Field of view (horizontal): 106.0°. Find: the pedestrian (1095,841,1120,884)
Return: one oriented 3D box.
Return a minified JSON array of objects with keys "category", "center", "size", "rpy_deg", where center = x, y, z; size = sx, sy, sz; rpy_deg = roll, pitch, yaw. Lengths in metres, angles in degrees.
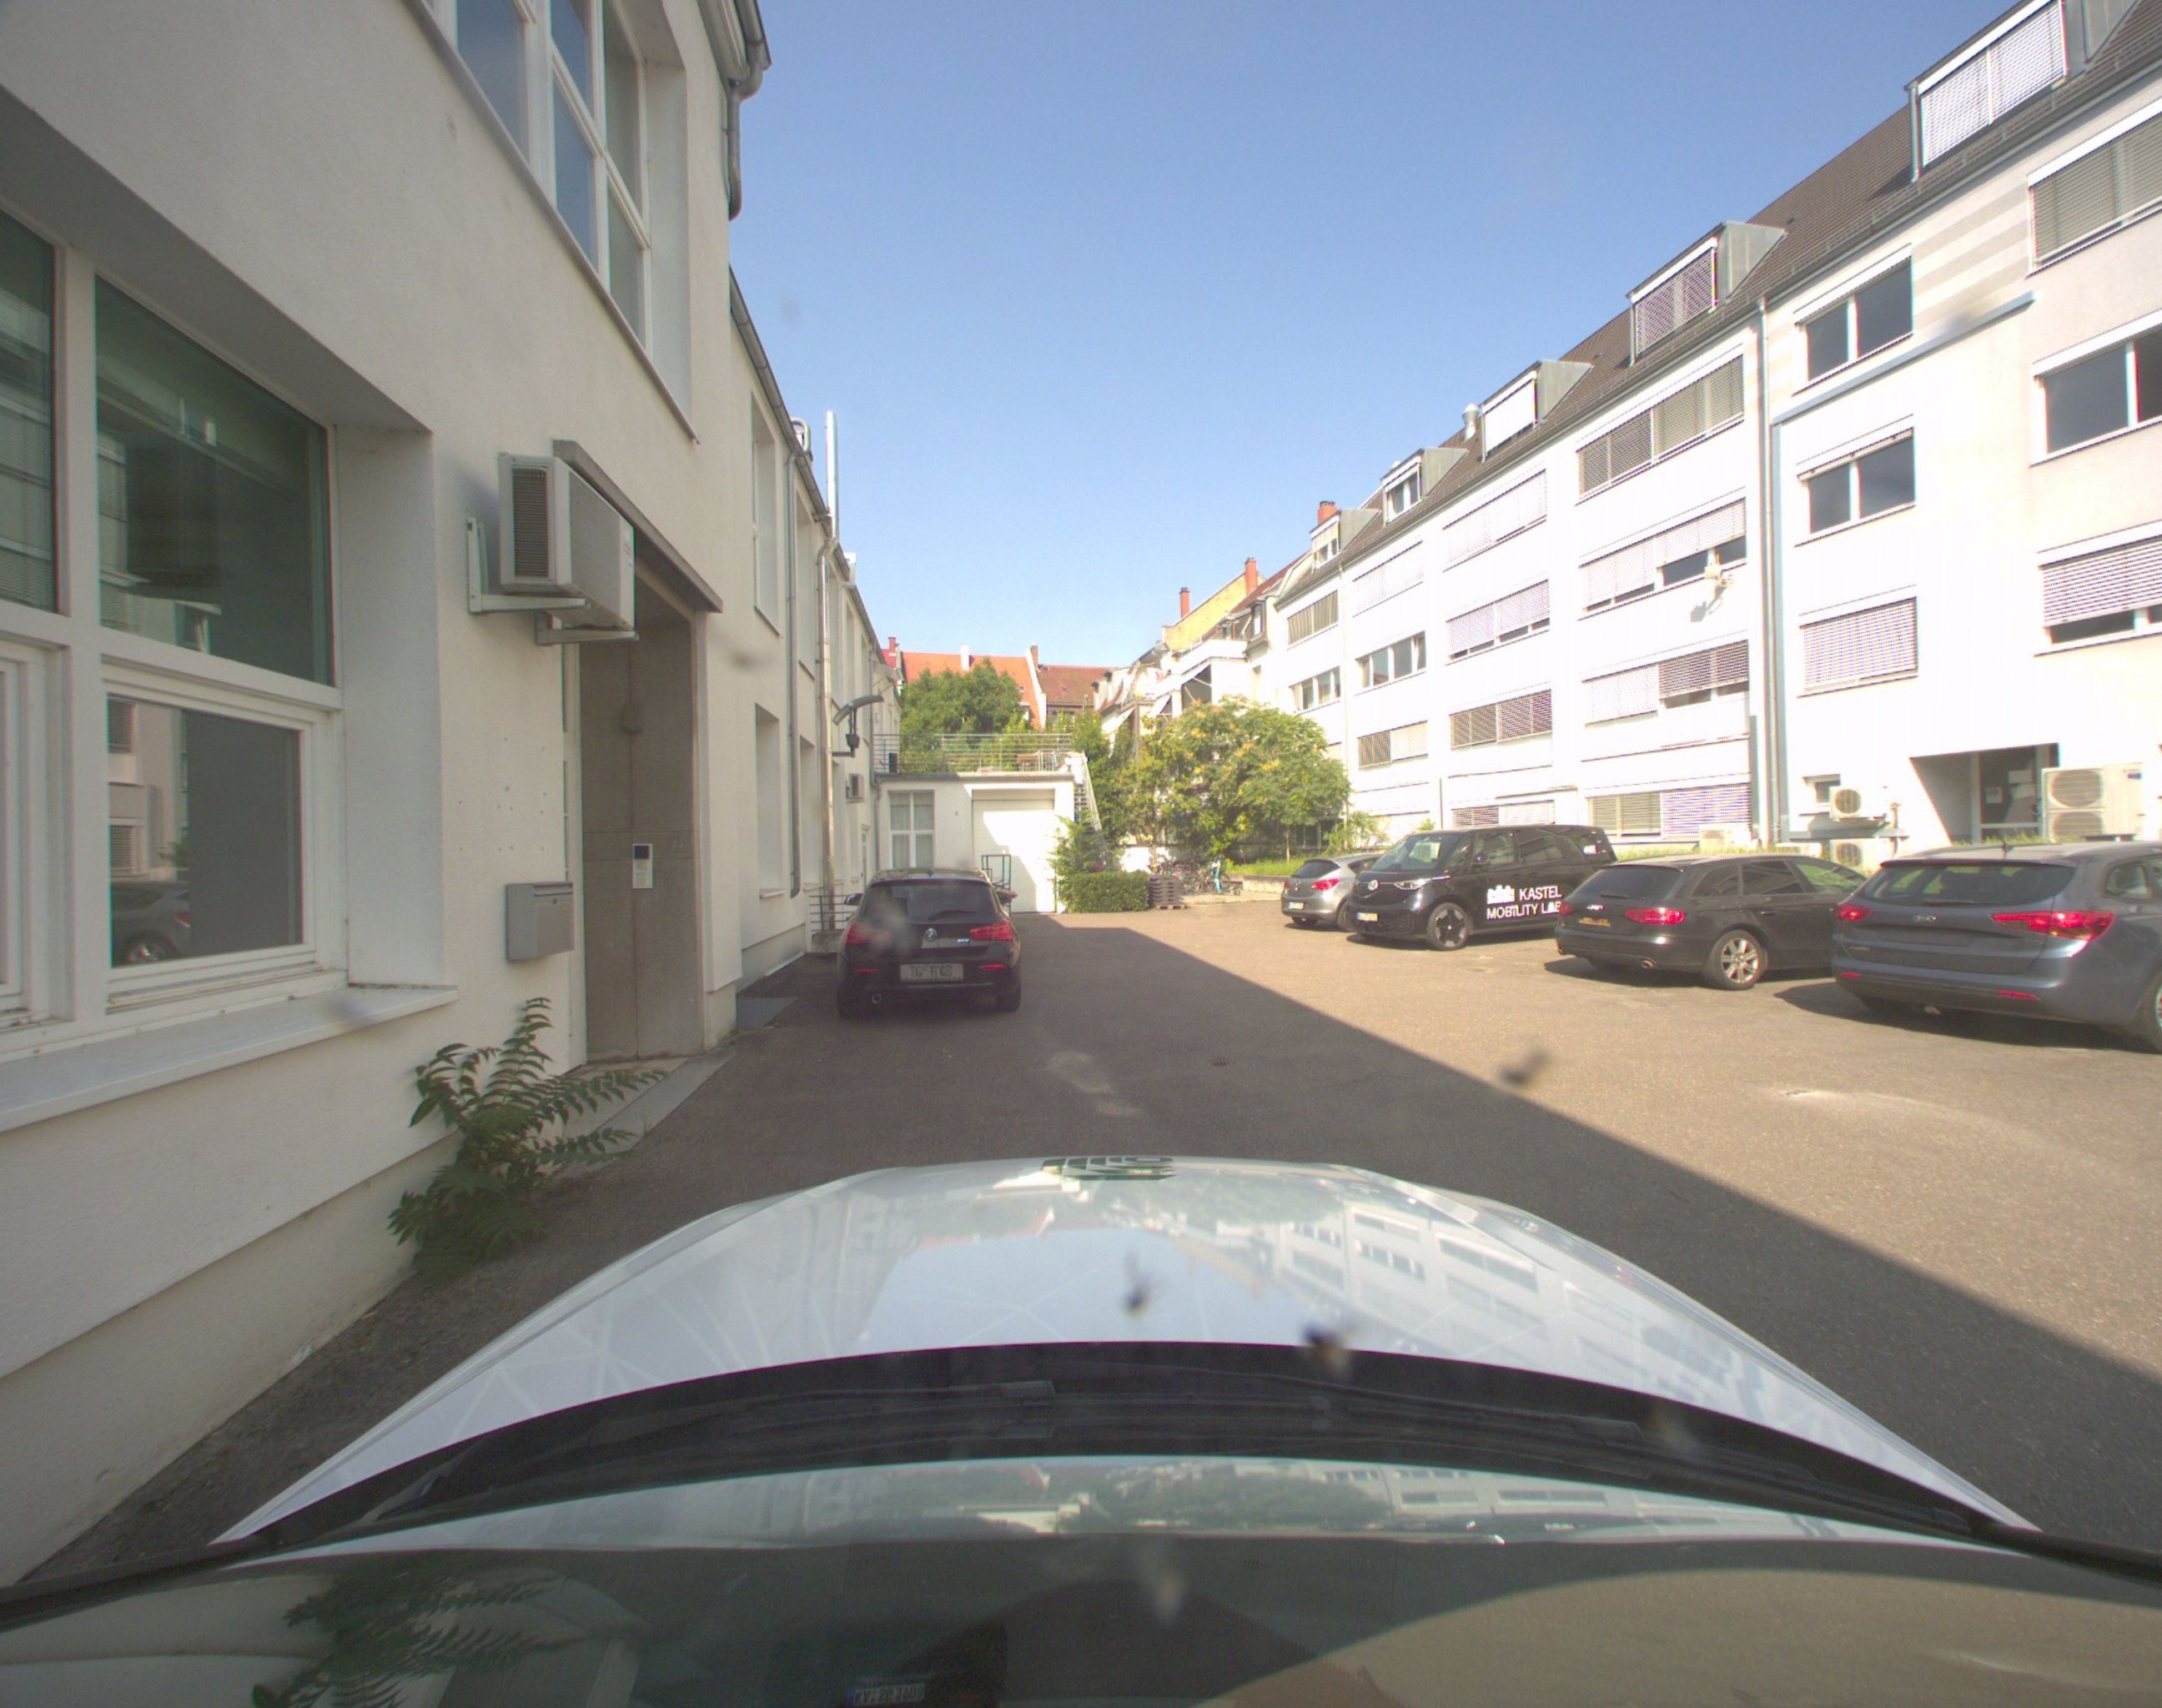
[{"category":"pedestrian","center":[1.104,0.344,34.250],"size":[0.850,1.771,0.615],"rpy_deg":[-1,0,36]}]

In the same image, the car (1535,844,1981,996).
[{"category":"car","center":[7.774,0.658,9.497],"size":[4.233,1.437,1.684],"rpy_deg":[-2,0,-11]}]

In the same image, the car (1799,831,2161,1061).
[{"category":"car","center":[8.455,0.582,6.754],"size":[4.051,1.478,1.734],"rpy_deg":[-2,0,-14]}]

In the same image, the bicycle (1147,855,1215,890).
[{"category":"bicycle","center":[3.631,0.666,29.693],"size":[2.410,1.246,0.525],"rpy_deg":[0,0,-9]}]

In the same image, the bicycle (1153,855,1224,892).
[{"category":"bicycle","center":[3.733,0.675,28.377],"size":[2.410,1.246,0.525],"rpy_deg":[0,0,-9]}]

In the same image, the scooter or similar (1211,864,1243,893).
[{"category":"scooter or similar","center":[4.789,0.810,26.747],"size":[0.987,0.924,0.362],"rpy_deg":[-1,0,44]}]

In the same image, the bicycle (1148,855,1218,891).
[{"category":"bicycle","center":[3.640,0.671,29.028],"size":[2.410,1.246,0.525],"rpy_deg":[0,0,-9]}]

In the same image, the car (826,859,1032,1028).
[{"category":"car","center":[-1.720,0.796,9.297],"size":[1.793,1.428,4.121],"rpy_deg":[0,0,-11]}]

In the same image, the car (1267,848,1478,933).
[{"category":"car","center":[5.899,0.664,16.480],"size":[3.912,1.466,1.651],"rpy_deg":[-2,0,-22]}]

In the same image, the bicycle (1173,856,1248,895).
[{"category":"bicycle","center":[4.274,0.695,26.975],"size":[2.410,1.246,0.525],"rpy_deg":[0,0,-9]}]

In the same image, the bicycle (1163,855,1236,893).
[{"category":"bicycle","center":[4.007,0.670,27.604],"size":[2.410,1.246,0.525],"rpy_deg":[0,0,-9]}]

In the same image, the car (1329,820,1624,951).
[{"category":"car","center":[6.595,0.437,13.647],"size":[4.347,1.859,1.903],"rpy_deg":[-2,0,-18]}]

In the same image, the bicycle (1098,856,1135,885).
[{"category":"bicycle","center":[1.503,0.680,34.304],"size":[0.483,1.143,2.007],"rpy_deg":[-1,1,37]}]
